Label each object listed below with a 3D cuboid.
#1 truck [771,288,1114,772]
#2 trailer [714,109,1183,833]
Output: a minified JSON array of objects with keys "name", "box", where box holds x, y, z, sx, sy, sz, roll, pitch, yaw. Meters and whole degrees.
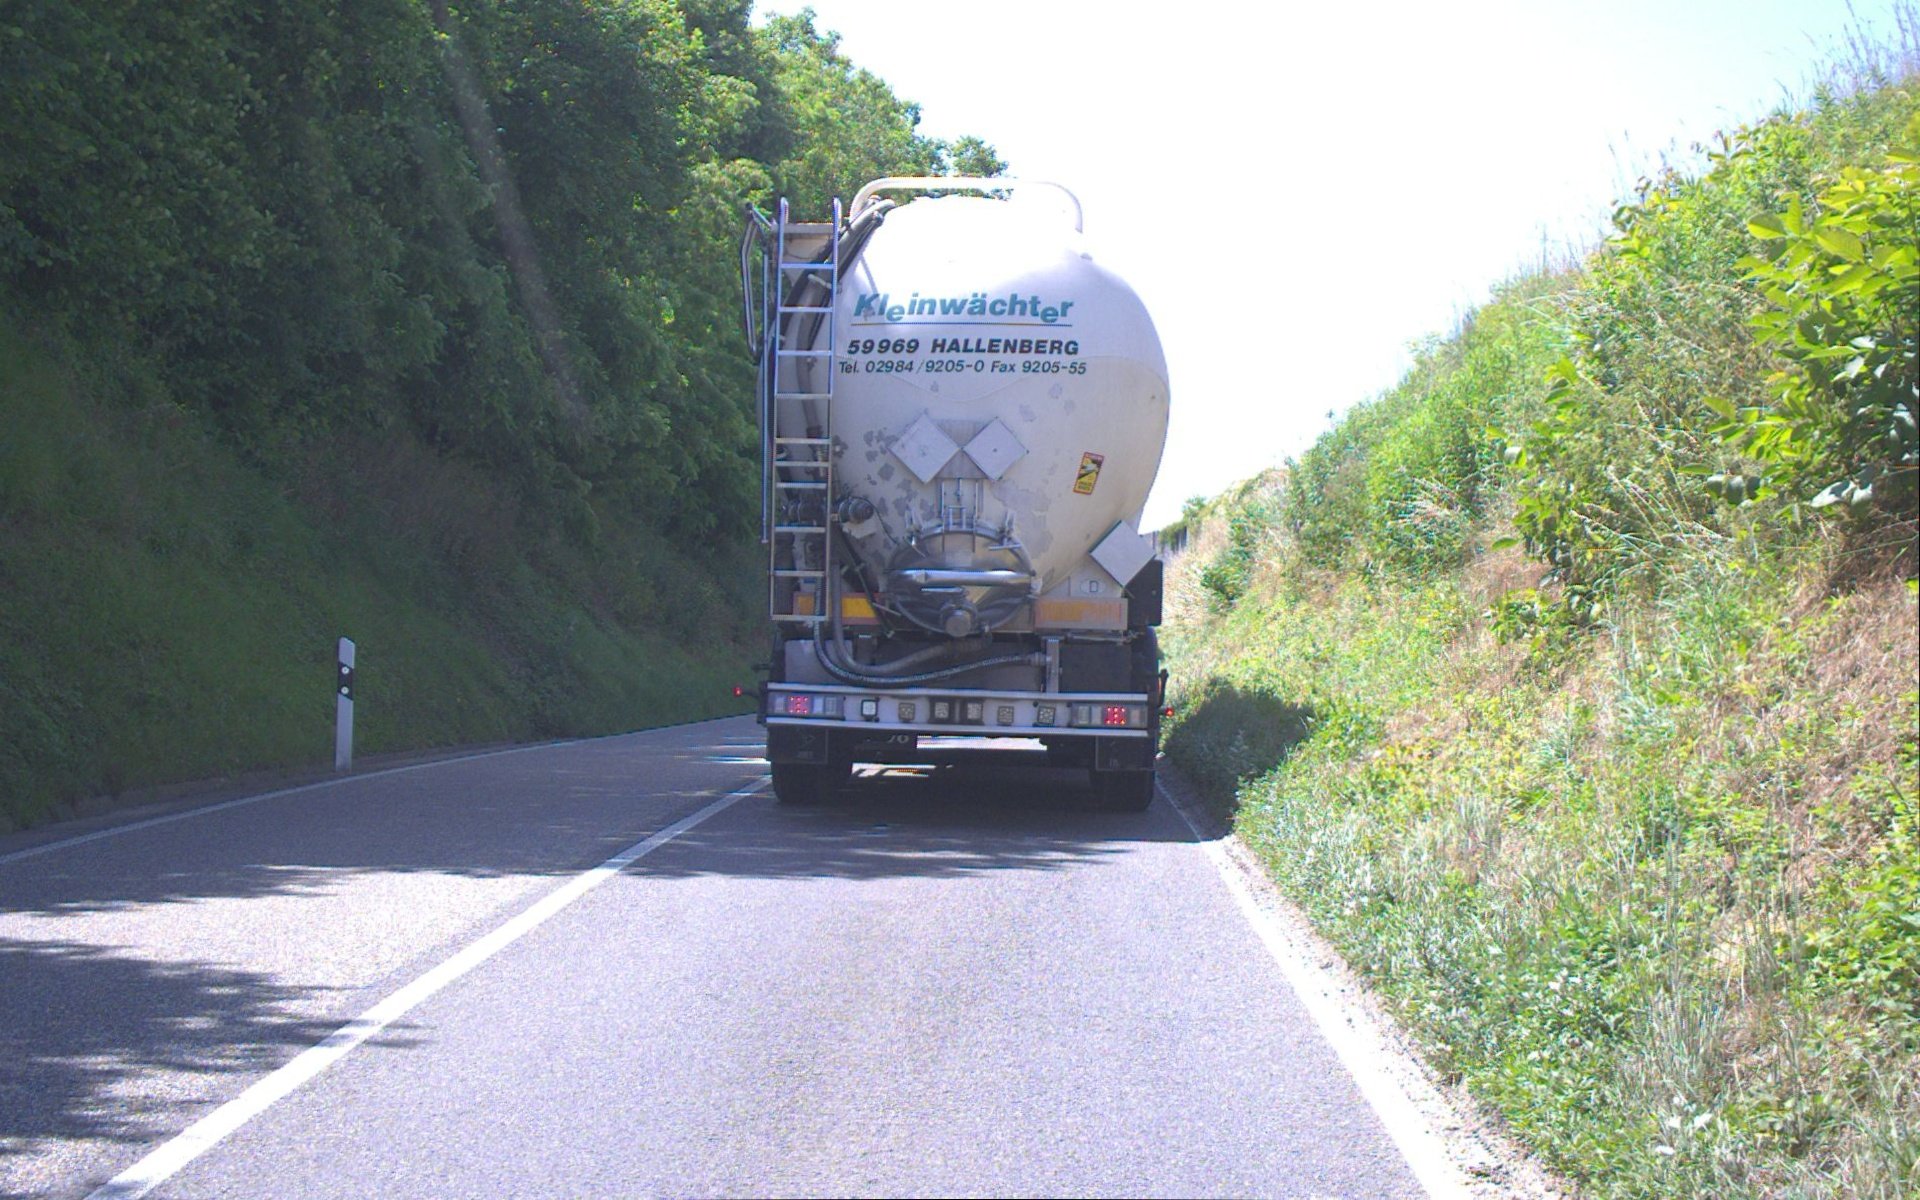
[{"name":"truck","box":[-0.044,-0.513,31.871,2.727,3.917,7.262,1,-1,2]},{"name":"trailer","box":[-0.068,-0.728,25.953,2.661,4.174,11.904,1,0,0]}]
